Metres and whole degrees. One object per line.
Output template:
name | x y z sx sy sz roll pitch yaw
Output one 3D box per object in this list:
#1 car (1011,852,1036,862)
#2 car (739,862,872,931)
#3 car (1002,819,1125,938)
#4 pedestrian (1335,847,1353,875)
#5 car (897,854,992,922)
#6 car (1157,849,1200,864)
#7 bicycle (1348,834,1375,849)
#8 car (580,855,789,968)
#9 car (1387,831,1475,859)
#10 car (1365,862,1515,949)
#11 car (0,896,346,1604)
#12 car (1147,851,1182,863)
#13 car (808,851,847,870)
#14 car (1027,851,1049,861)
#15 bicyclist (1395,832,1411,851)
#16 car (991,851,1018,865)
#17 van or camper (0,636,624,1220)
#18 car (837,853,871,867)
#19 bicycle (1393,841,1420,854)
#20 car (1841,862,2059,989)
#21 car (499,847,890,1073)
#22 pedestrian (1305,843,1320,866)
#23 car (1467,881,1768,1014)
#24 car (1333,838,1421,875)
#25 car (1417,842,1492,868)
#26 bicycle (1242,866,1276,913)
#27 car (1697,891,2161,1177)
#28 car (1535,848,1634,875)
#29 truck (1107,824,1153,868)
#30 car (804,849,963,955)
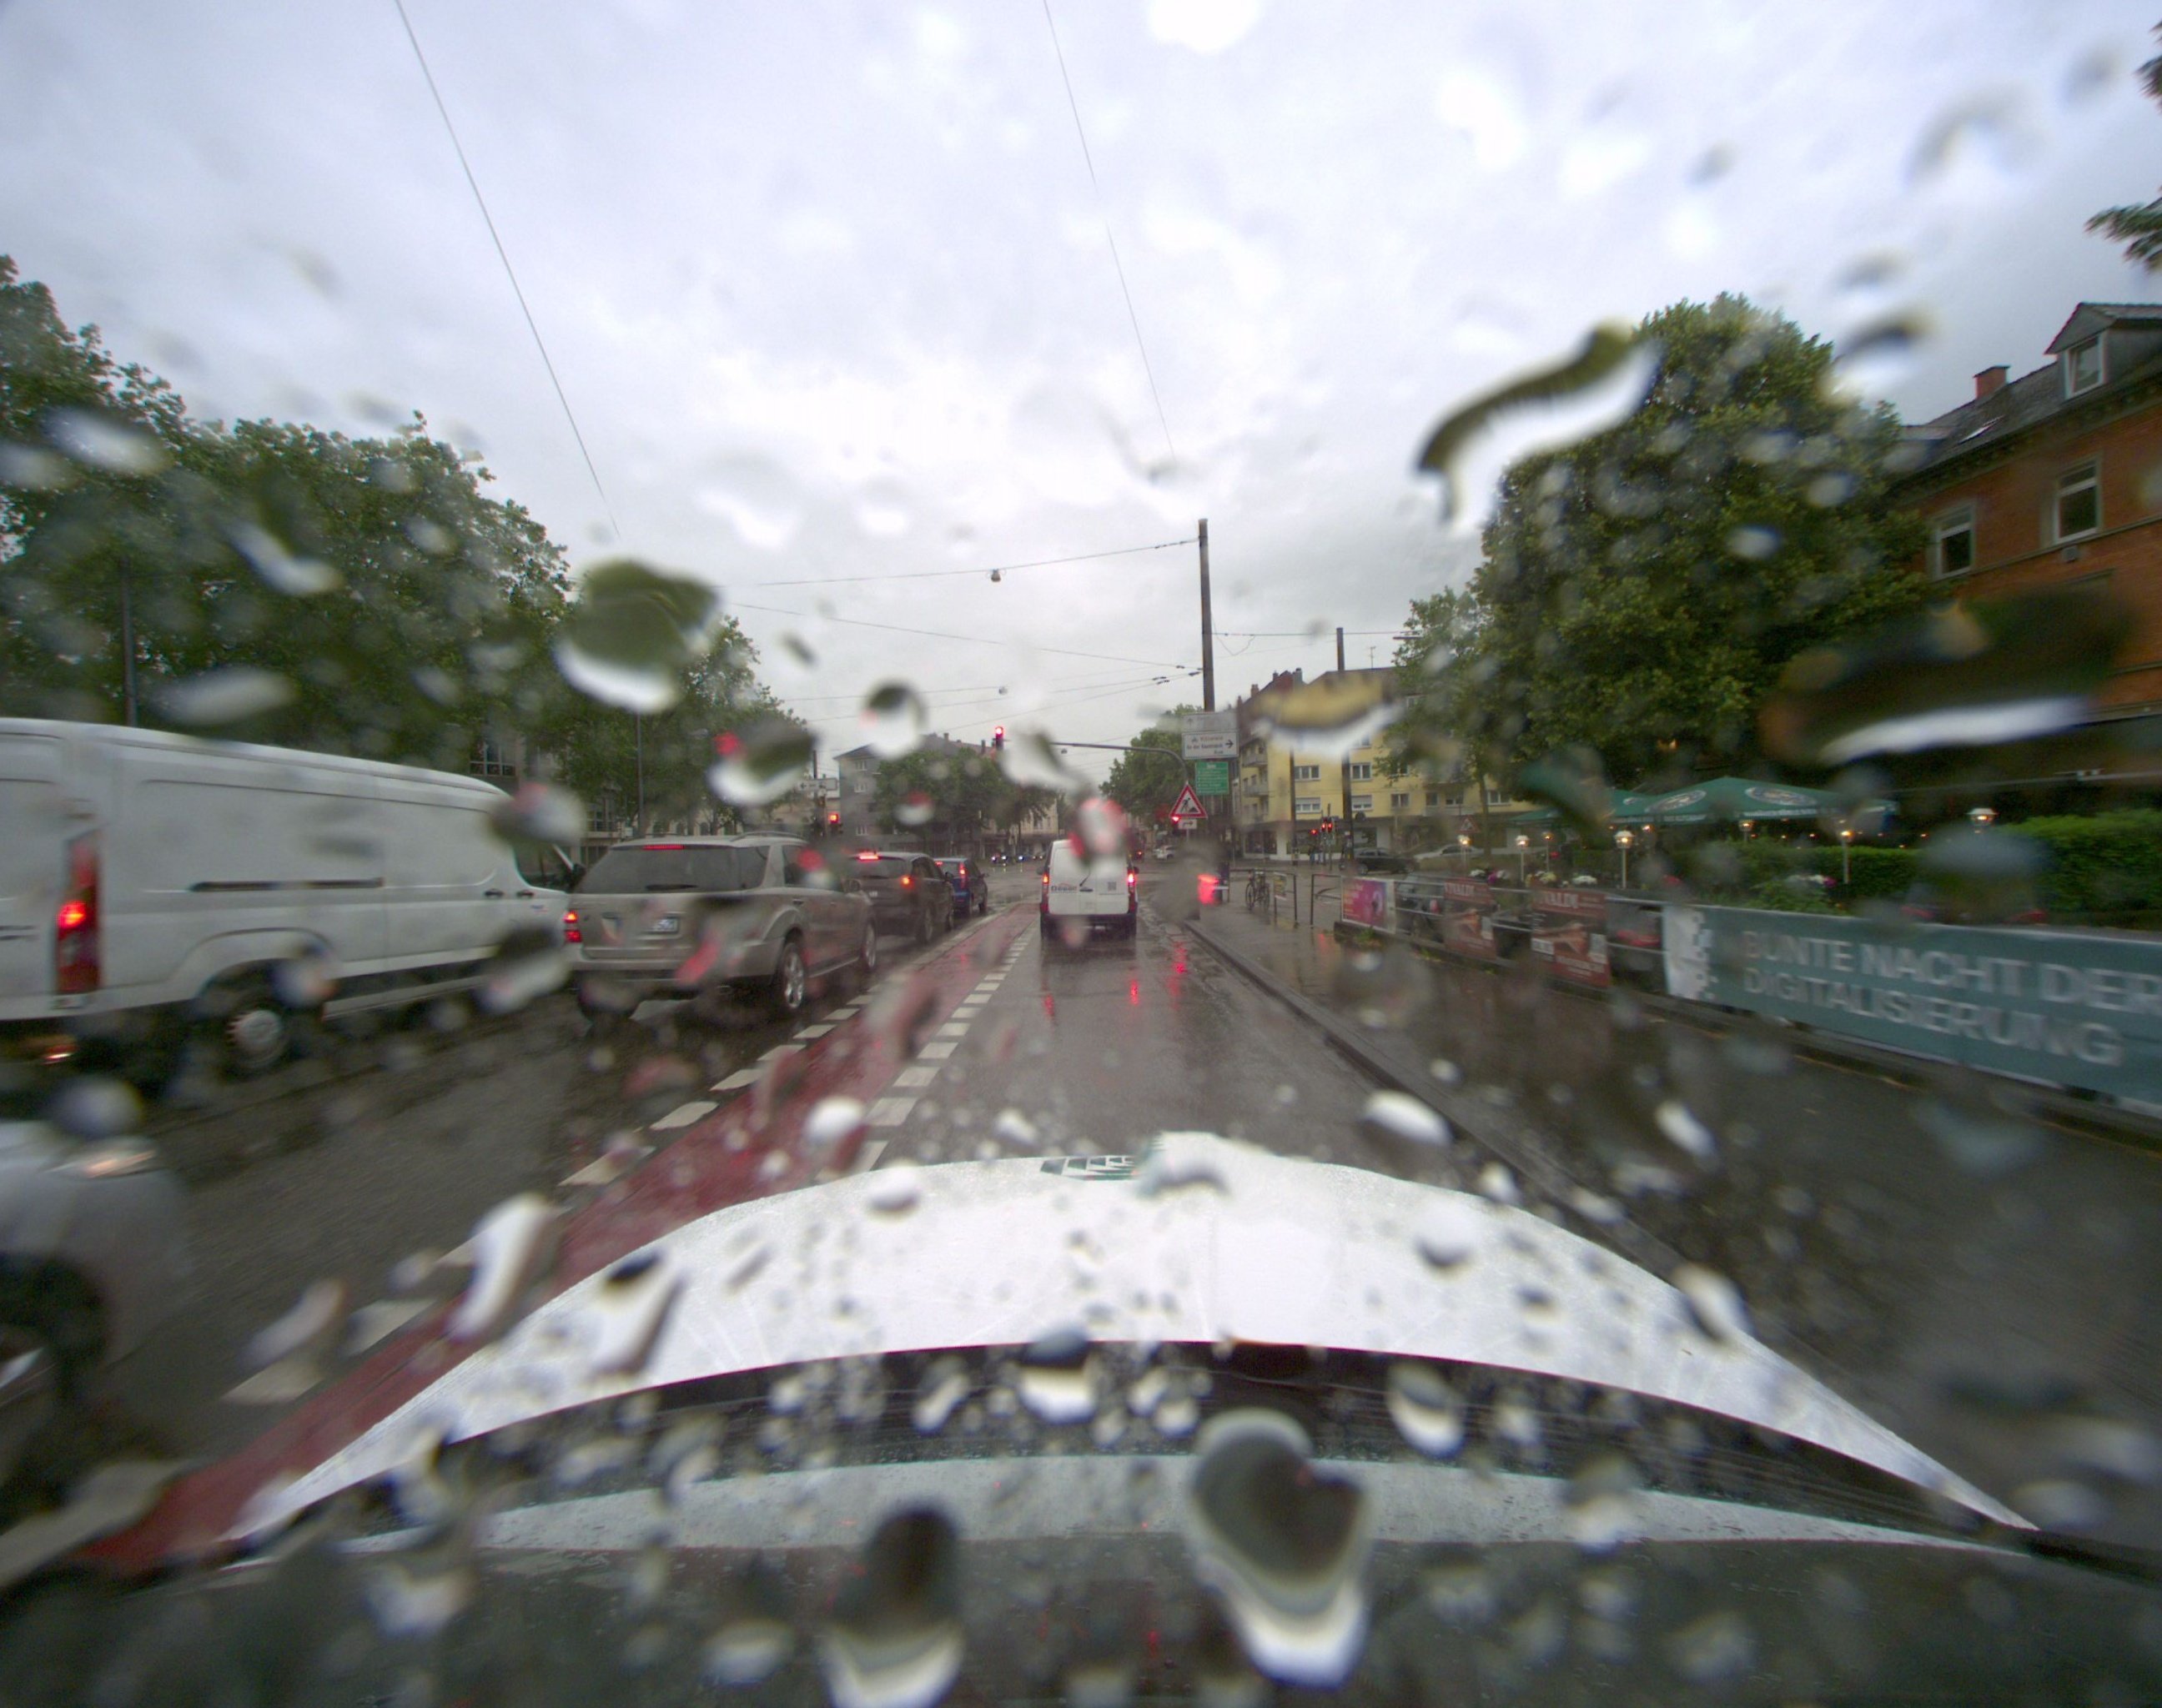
car | -7.696 0.362 109.570 1.935 1.239 4.019 -1 1 18
car | -6.753 0.990 20.429 1.837 1.484 4.002 -1 0 2
car | -0.259 0.433 16.608 2.093 2.012 4.964 -1 0 1
pedestrian | 16.006 0.421 49.549 0.896 1.669 1.026 -1 0 28
car | -3.409 0.790 20.989 1.721 1.578 3.821 -1 0 1
car | 9.936 0.257 83.078 4.161 1.338 1.517 -2 1 -7
bicycle | 23.833 -1.051 69.167 2.085 1.261 0.534 -1 1 15
car | -6.635 0.867 14.128 1.639 1.629 3.837 -2 0 1
car | 22.575 -0.543 52.707 4.903 1.643 2.007 -1 -2 13
car | 7.341 0.983 17.029 1.698 1.442 3.528 2 1 3
car | -3.215 0.885 0.559 1.762 1.477 4.000 -1 0 0
car | 8.713 0.301 84.883 3.438 1.130 1.468 -1 0 -7
car | -31.740 0.736 102.064 1.975 2.198 4.816 0 2 24
car | -6.195 0.309 117.671 1.935 1.239 4.019 -1 1 18
bicyclist | 26.413 -0.997 66.741 1.058 1.547 0.940 -1 0 12
car | -9.713 0.528 103.550 1.935 1.607 4.019 1 2 18
van or camper | -6.842 0.430 7.283 2.152 3.141 5.849 -2 0 -1
car | -28.452 0.744 102.138 1.935 1.496 4.025 0 2 28
bicycle | 26.630 -0.555 66.673 2.003 1.027 0.662 -1 0 13
car | 14.298 1.034 13.670 1.974 1.713 4.025 -1 0 40
car | -3.597 0.839 8.708 2.018 1.770 4.462 -1 0 0
pedestrian | 16.211 0.029 56.976 0.820 1.534 0.615 -1 0 -37
car | 7.240 1.159 11.540 1.697 1.400 3.973 -1 0 1
car | 15.927 0.133 43.972 3.979 1.866 1.997 -1 0 -4
car | 22.648 0.055 49.536 3.907 1.490 1.814 -1 1 17
bicycle | 4.596 0.898 21.133 0.512 1.107 2.018 2 0 3
car | 7.342 1.166 6.517 1.727 1.539 4.073 0 0 -1
car | 26.164 0.361 42.476 3.960 1.332 2.007 -1 0 12
truck | 6.425 -0.972 103.731 3.446 5.087 15.358 -1 0 12
car | -3.475 0.771 15.160 1.828 1.668 4.173 -1 0 1
